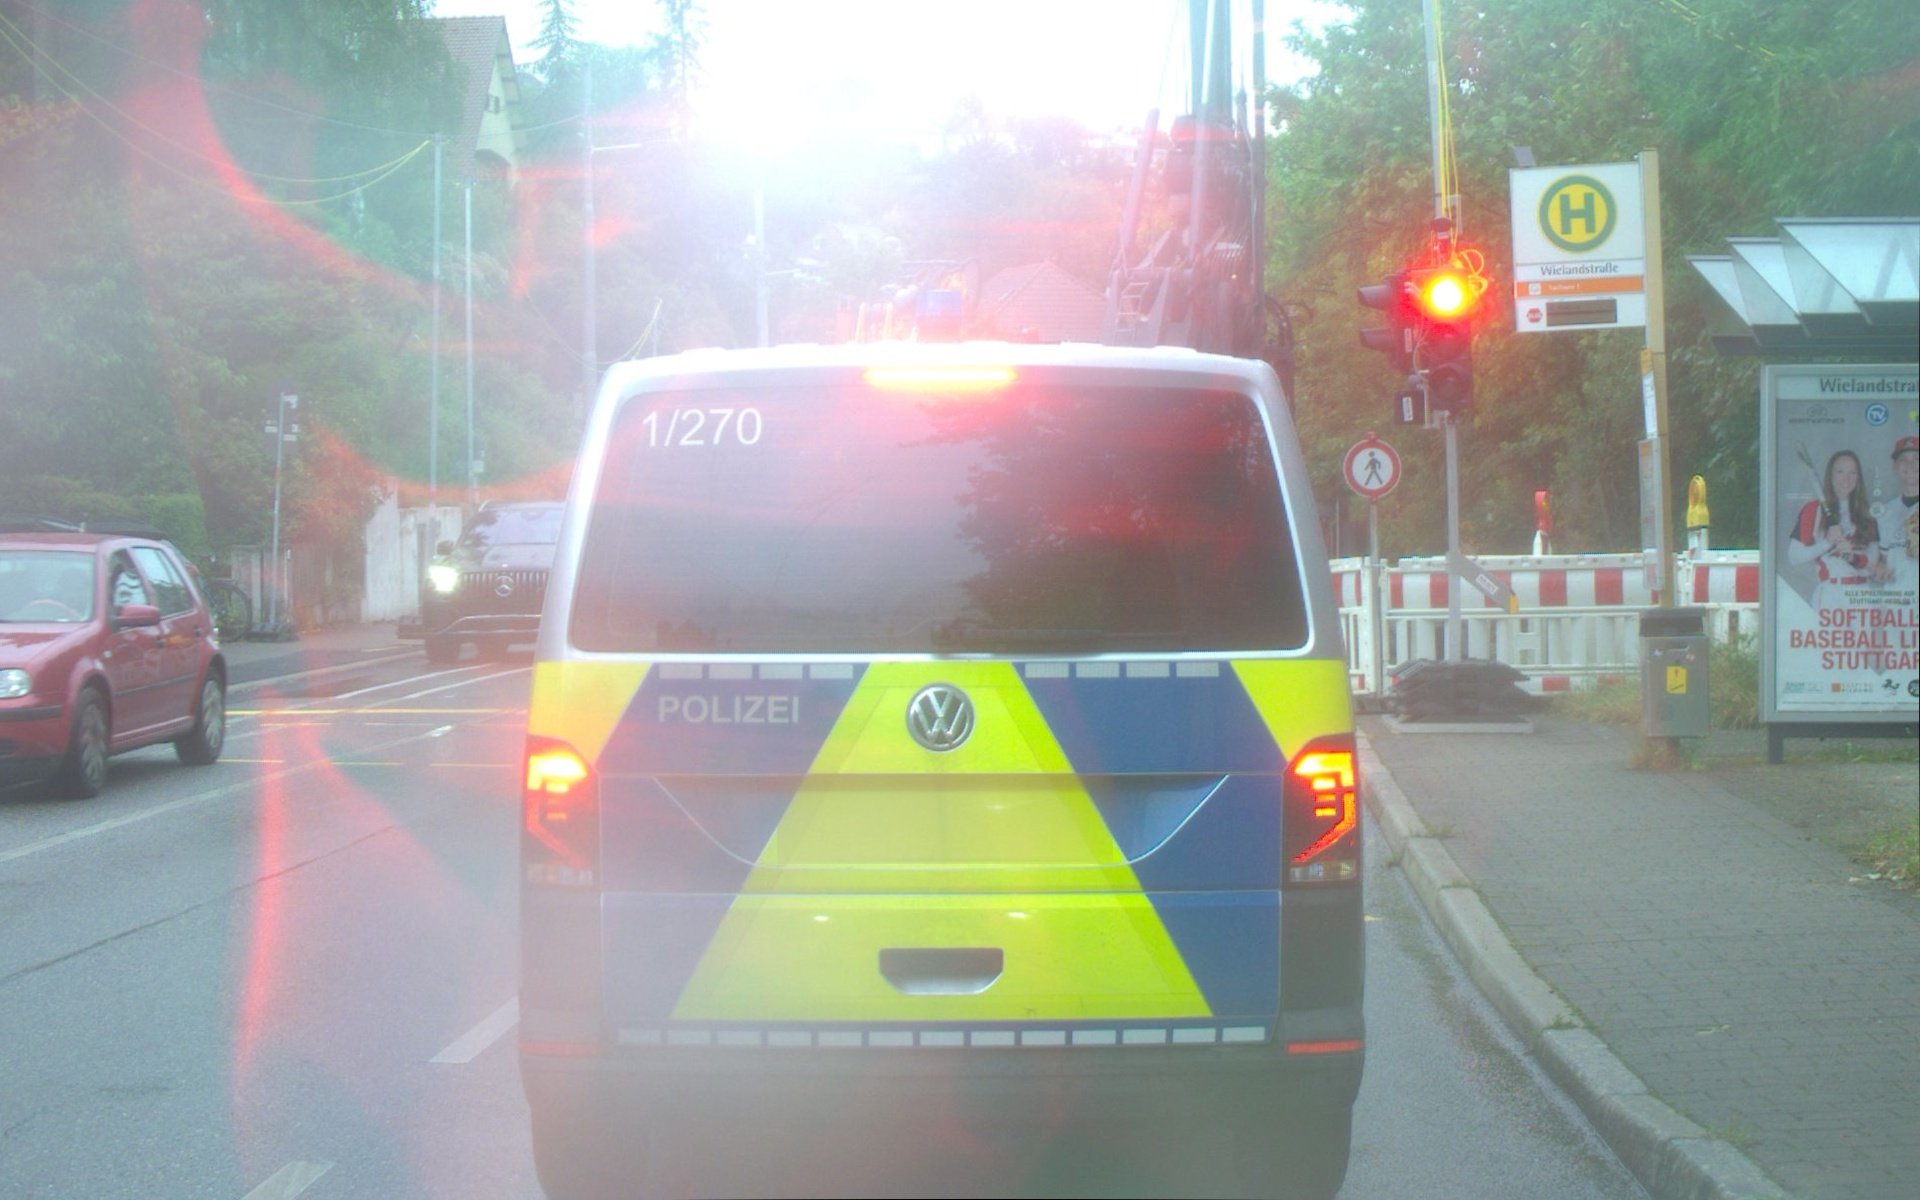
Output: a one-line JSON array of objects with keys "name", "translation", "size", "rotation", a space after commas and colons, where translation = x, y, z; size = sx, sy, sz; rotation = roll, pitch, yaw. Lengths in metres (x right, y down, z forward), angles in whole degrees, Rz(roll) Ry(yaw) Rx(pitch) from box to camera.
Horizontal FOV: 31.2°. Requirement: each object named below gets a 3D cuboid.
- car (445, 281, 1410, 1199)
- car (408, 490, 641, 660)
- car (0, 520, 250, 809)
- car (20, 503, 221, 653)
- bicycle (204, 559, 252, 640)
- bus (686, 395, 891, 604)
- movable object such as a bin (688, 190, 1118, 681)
[{"name": "car", "translation": [-0.090, 0.359, 8.838], "size": [1.893, 2.043, 4.000], "rotation": [1, 1, -1]}, {"name": "car", "translation": [-4.761, -0.320, 38.190], "size": [1.979, 1.742, 4.553], "rotation": [1, 1, 0]}, {"name": "car", "translation": [-5.467, 0.282, 19.636], "size": [1.764, 1.458, 3.886], "rotation": [1, 1, 4]}, {"name": "car", "translation": [-9.321, -0.277, 37.981], "size": [1.765, 1.481, 3.743], "rotation": [1, 3, -20]}, {"name": "bicycle", "translation": [-8.439, -0.018, 39.598], "size": [0.462, 0.894, 1.634], "rotation": [0, 1, -15]}, {"name": "bus", "translation": [-3.199, -1.928, 67.587], "size": [2.841, 3.705, 12.005], "rotation": [1, 1, 3]}, {"name": "movable object such as a bin", "translation": [-0.418, -1.459, 31.637], "size": [2.832, 4.163, 4.378], "rotation": [1, 1, 15]}]
